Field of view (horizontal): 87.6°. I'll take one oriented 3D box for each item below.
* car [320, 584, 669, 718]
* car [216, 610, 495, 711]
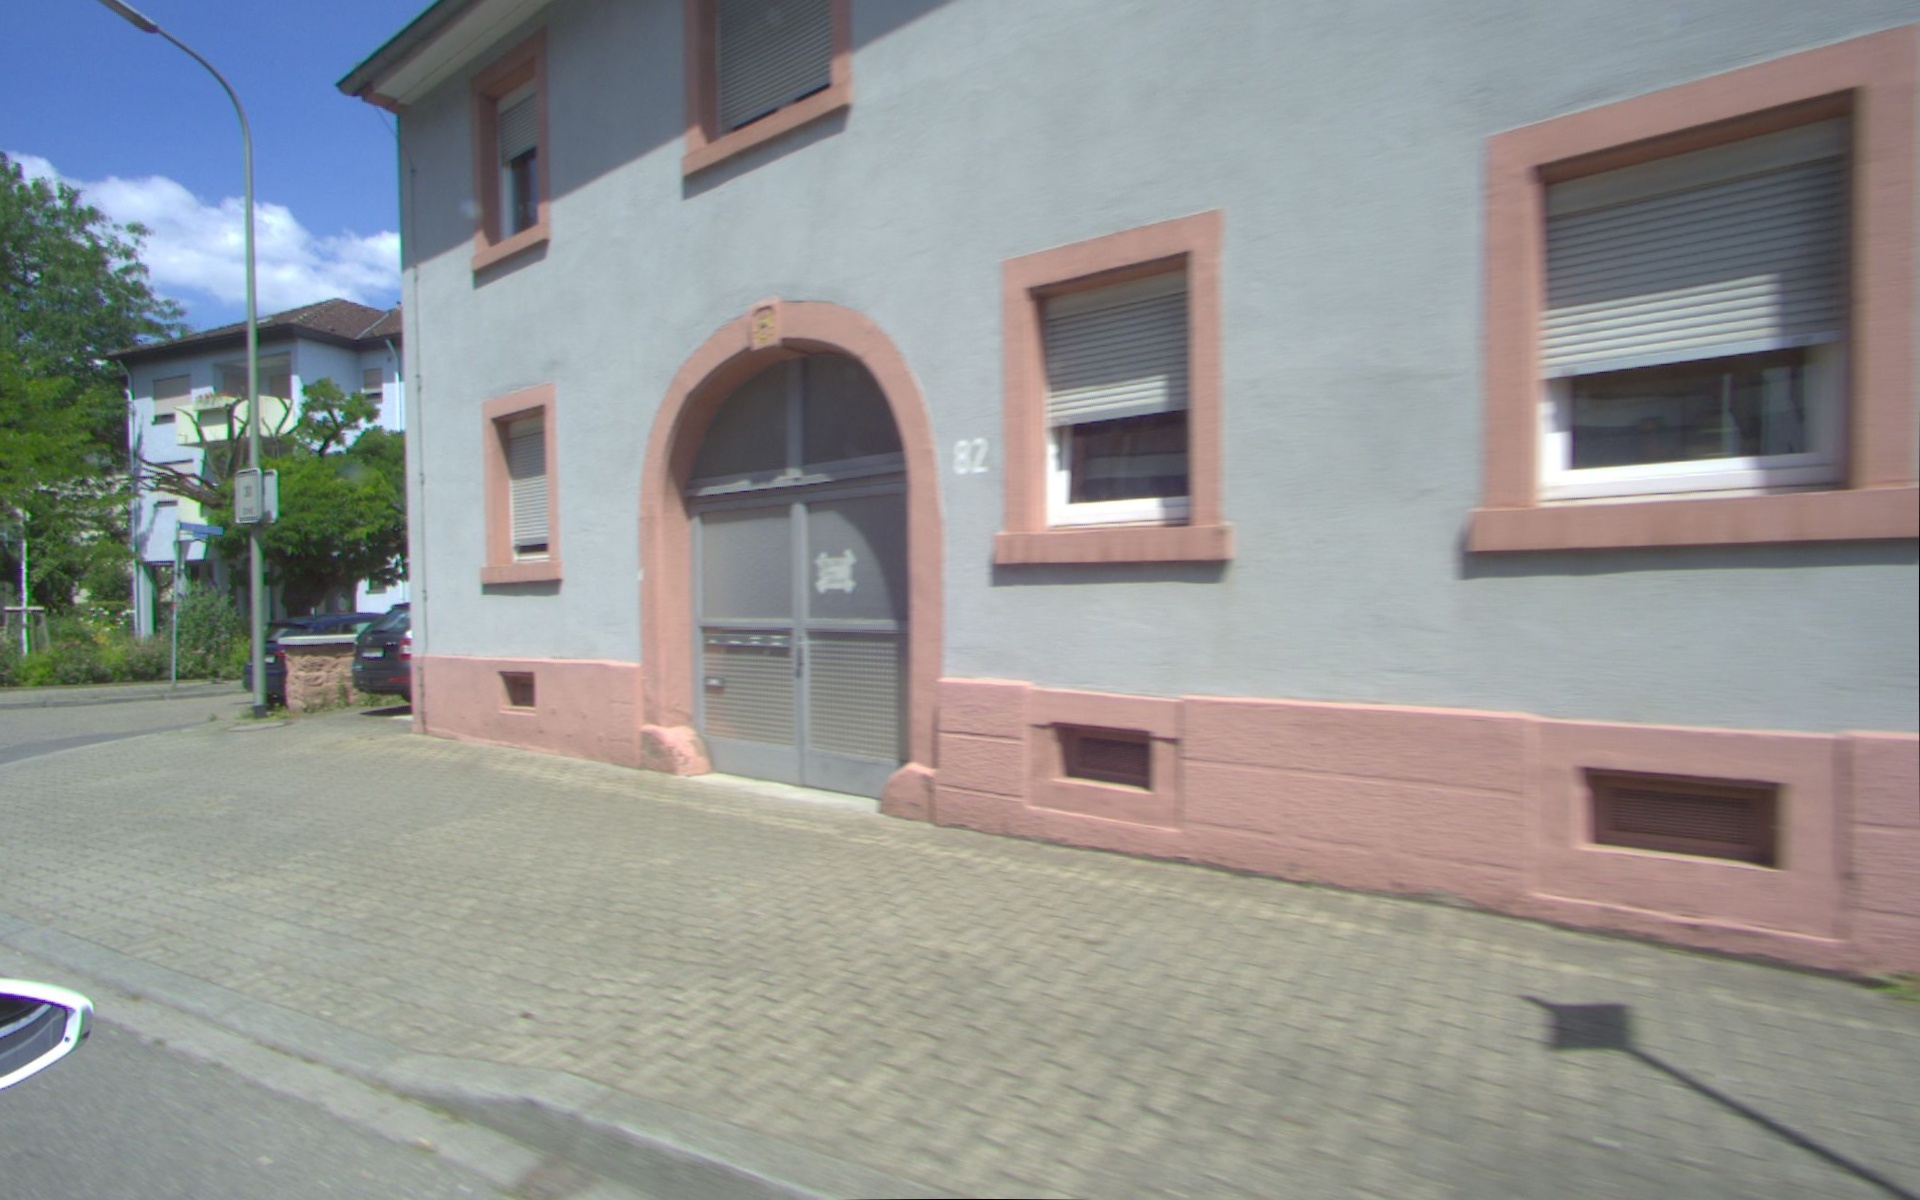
[{"bbox_3d":[-6.450,0.620,14.382,1.717,1.550,4.257,-2,1,32],"label":"car"},{"bbox_3d":[-9.870,0.946,16.624,1.715,1.467,3.595,-2,-2,28],"label":"car"}]
